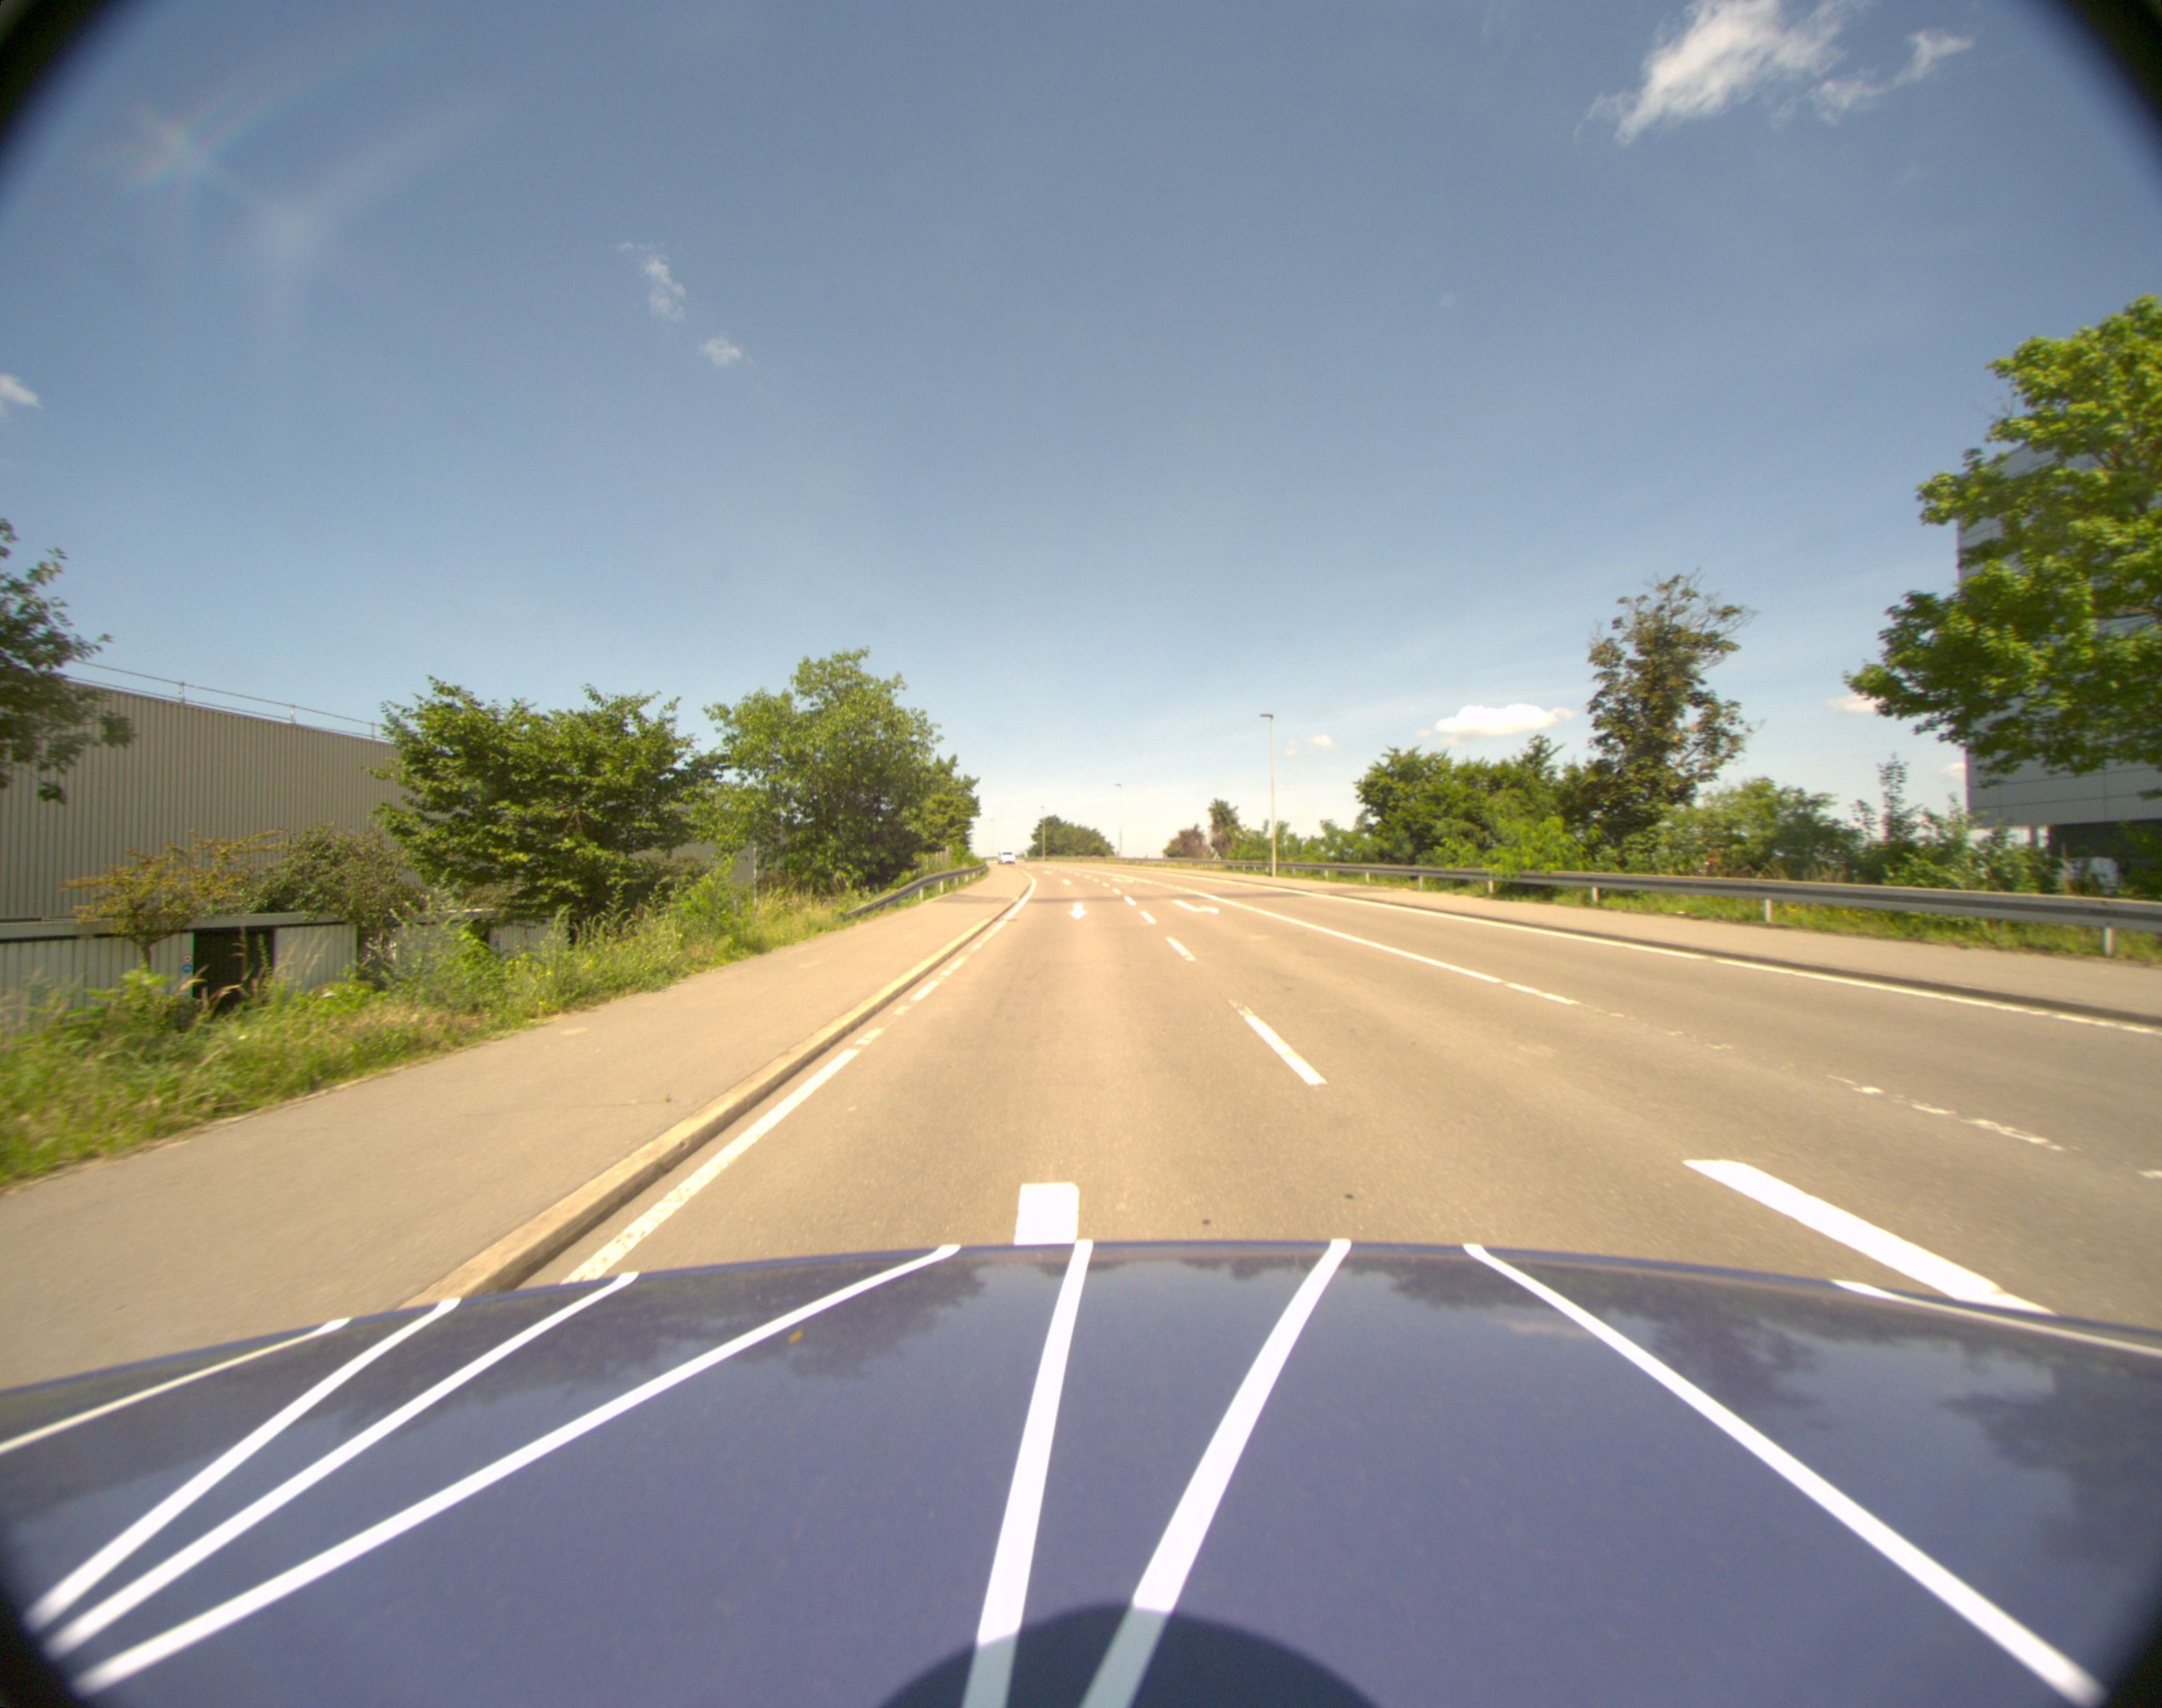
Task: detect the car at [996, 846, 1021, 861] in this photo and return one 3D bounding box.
[{"bbox_3d":[-9.756,-0.072,102.260,2.096,1.750,4.275,-3,0,-23],"label":"car"}]
